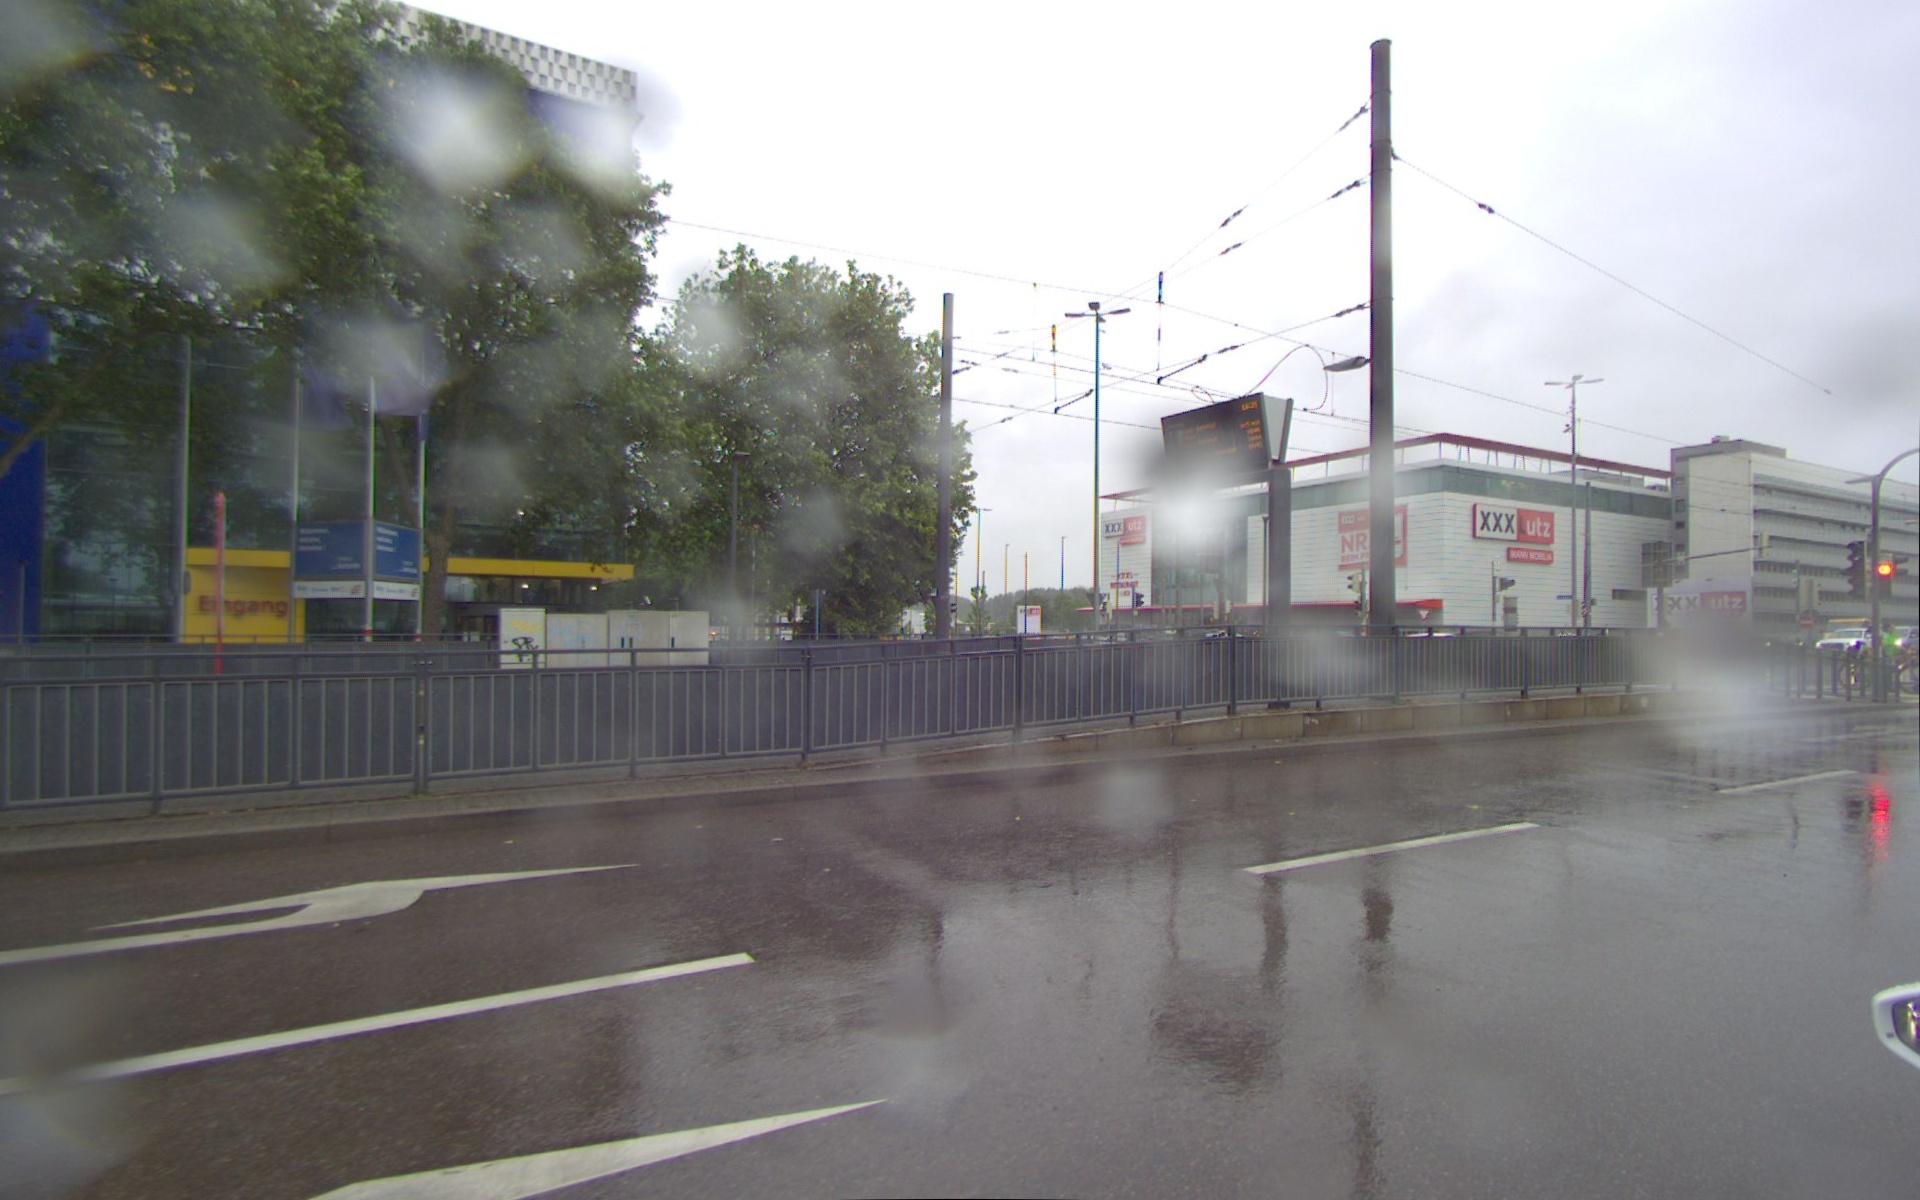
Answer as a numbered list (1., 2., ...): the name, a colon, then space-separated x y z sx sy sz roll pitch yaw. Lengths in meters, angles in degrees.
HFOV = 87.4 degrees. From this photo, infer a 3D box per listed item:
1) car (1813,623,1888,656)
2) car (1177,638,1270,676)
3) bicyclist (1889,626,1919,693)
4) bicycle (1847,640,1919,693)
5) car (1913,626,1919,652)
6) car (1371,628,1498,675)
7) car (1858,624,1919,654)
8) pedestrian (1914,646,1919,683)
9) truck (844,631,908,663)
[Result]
1. car: 44.941 2.002 50.675 3.765 1.445 1.702 3 0 -30
2. car: 13.047 2.806 49.957 1.695 1.521 4.469 3 0 -32
3. bicyclist: 22.084 1.381 23.279 0.593 1.510 0.600 2 0 20
4. bicycle: 21.845 1.542 23.369 1.724 1.153 0.520 2 0 18
5. car: 56.096 2.292 57.325 3.527 1.445 1.552 3 0 -30
6. car: 19.068 2.047 40.466 1.806 1.521 4.223 3 1 -39
7. car: 49.919 2.107 53.729 3.765 1.445 1.702 3 0 -30
8. pedestrian: 23.626 1.581 24.565 0.376 0.909 0.313 1 1 -32
9. truck: -7.355 4.037 87.100 2.445 2.240 7.329 3 0 -31
